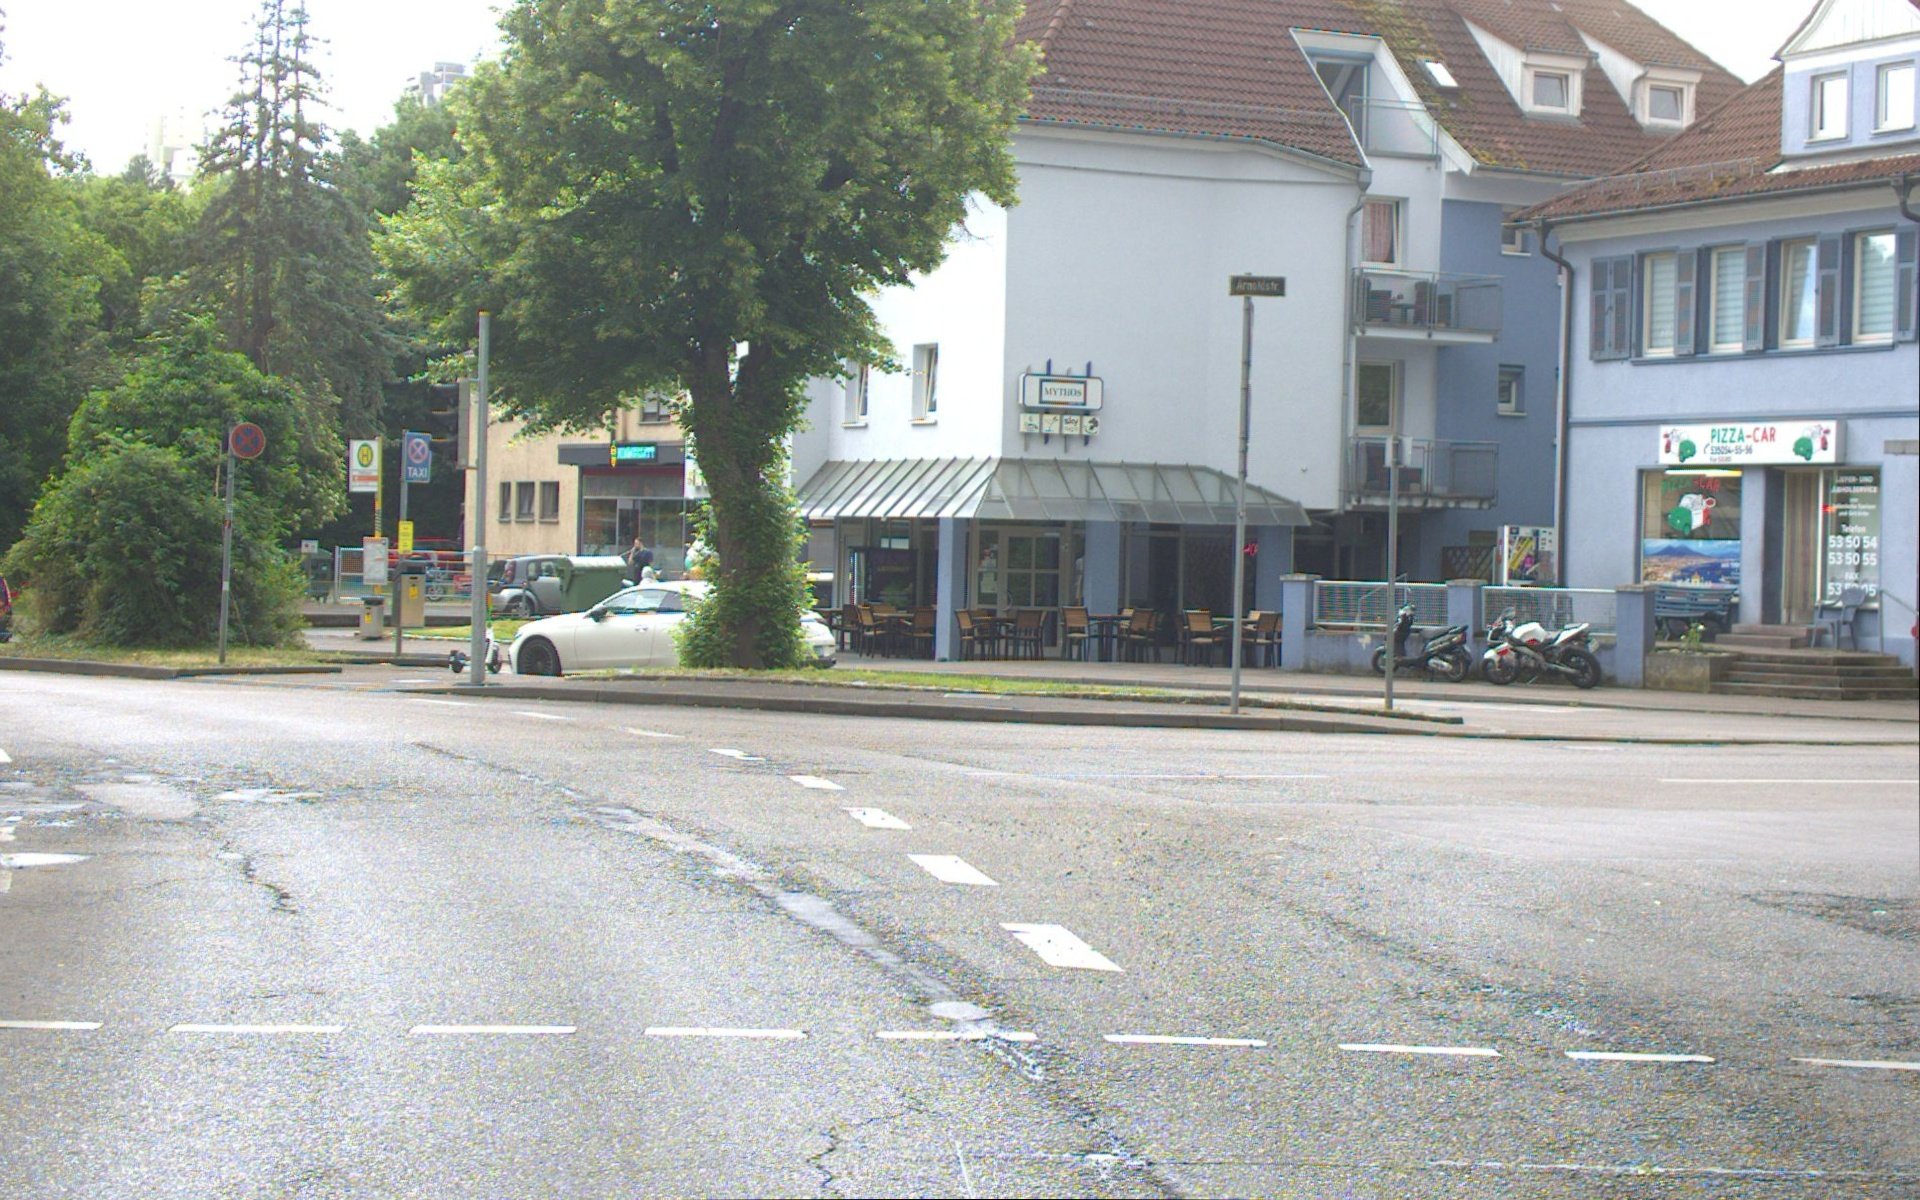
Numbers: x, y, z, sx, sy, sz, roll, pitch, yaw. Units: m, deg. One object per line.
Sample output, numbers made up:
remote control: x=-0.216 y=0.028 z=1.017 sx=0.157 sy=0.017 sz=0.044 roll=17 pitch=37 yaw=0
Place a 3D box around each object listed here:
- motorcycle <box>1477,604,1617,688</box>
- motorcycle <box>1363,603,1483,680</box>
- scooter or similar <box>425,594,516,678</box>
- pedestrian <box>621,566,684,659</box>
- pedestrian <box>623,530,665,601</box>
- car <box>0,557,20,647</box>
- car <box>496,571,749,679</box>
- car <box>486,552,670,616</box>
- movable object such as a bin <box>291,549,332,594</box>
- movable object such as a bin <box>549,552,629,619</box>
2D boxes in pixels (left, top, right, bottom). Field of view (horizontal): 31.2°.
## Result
motorcycle: x=8.254 y=0.636 z=48.375 sx=1.798 sy=1.118 sz=0.693 roll=2 pitch=1 yaw=38
motorcycle: x=6.748 y=0.599 z=50.154 sx=1.636 sy=1.060 sz=0.693 roll=2 pitch=1 yaw=44
scooter or similar: x=-6.062 y=0.434 z=42.645 sx=0.417 sy=1.008 sz=1.565 roll=1 pitch=1 yaw=20
pedestrian: x=-5.155 y=0.205 z=57.641 sx=0.768 sy=1.539 sz=0.677 roll=1 pitch=1 yaw=39
pedestrian: x=-6.923 y=-0.756 z=75.334 sx=0.705 sy=1.539 sz=0.678 roll=1 pitch=1 yaw=-26
car: x=-16.517 y=-0.009 z=53.717 sx=3.590 sy=1.389 sz=1.469 roll=2 pitch=1 yaw=32
car: x=-4.534 y=0.319 z=46.038 sx=3.171 sy=1.350 sz=1.436 roll=2 pitch=1 yaw=35
car: x=-8.428 y=-0.360 z=75.867 sx=3.733 sy=1.340 sz=1.434 roll=1 pitch=1 yaw=-26
movable object such as a bin: x=-16.249 y=-0.724 z=86.163 sx=0.950 sy=1.111 sz=0.383 roll=1 pitch=1 yaw=-21
movable object such as a bin: x=-7.985 y=-0.318 z=73.970 sx=1.440 sy=1.404 sz=0.967 roll=1 pitch=1 yaw=-27
